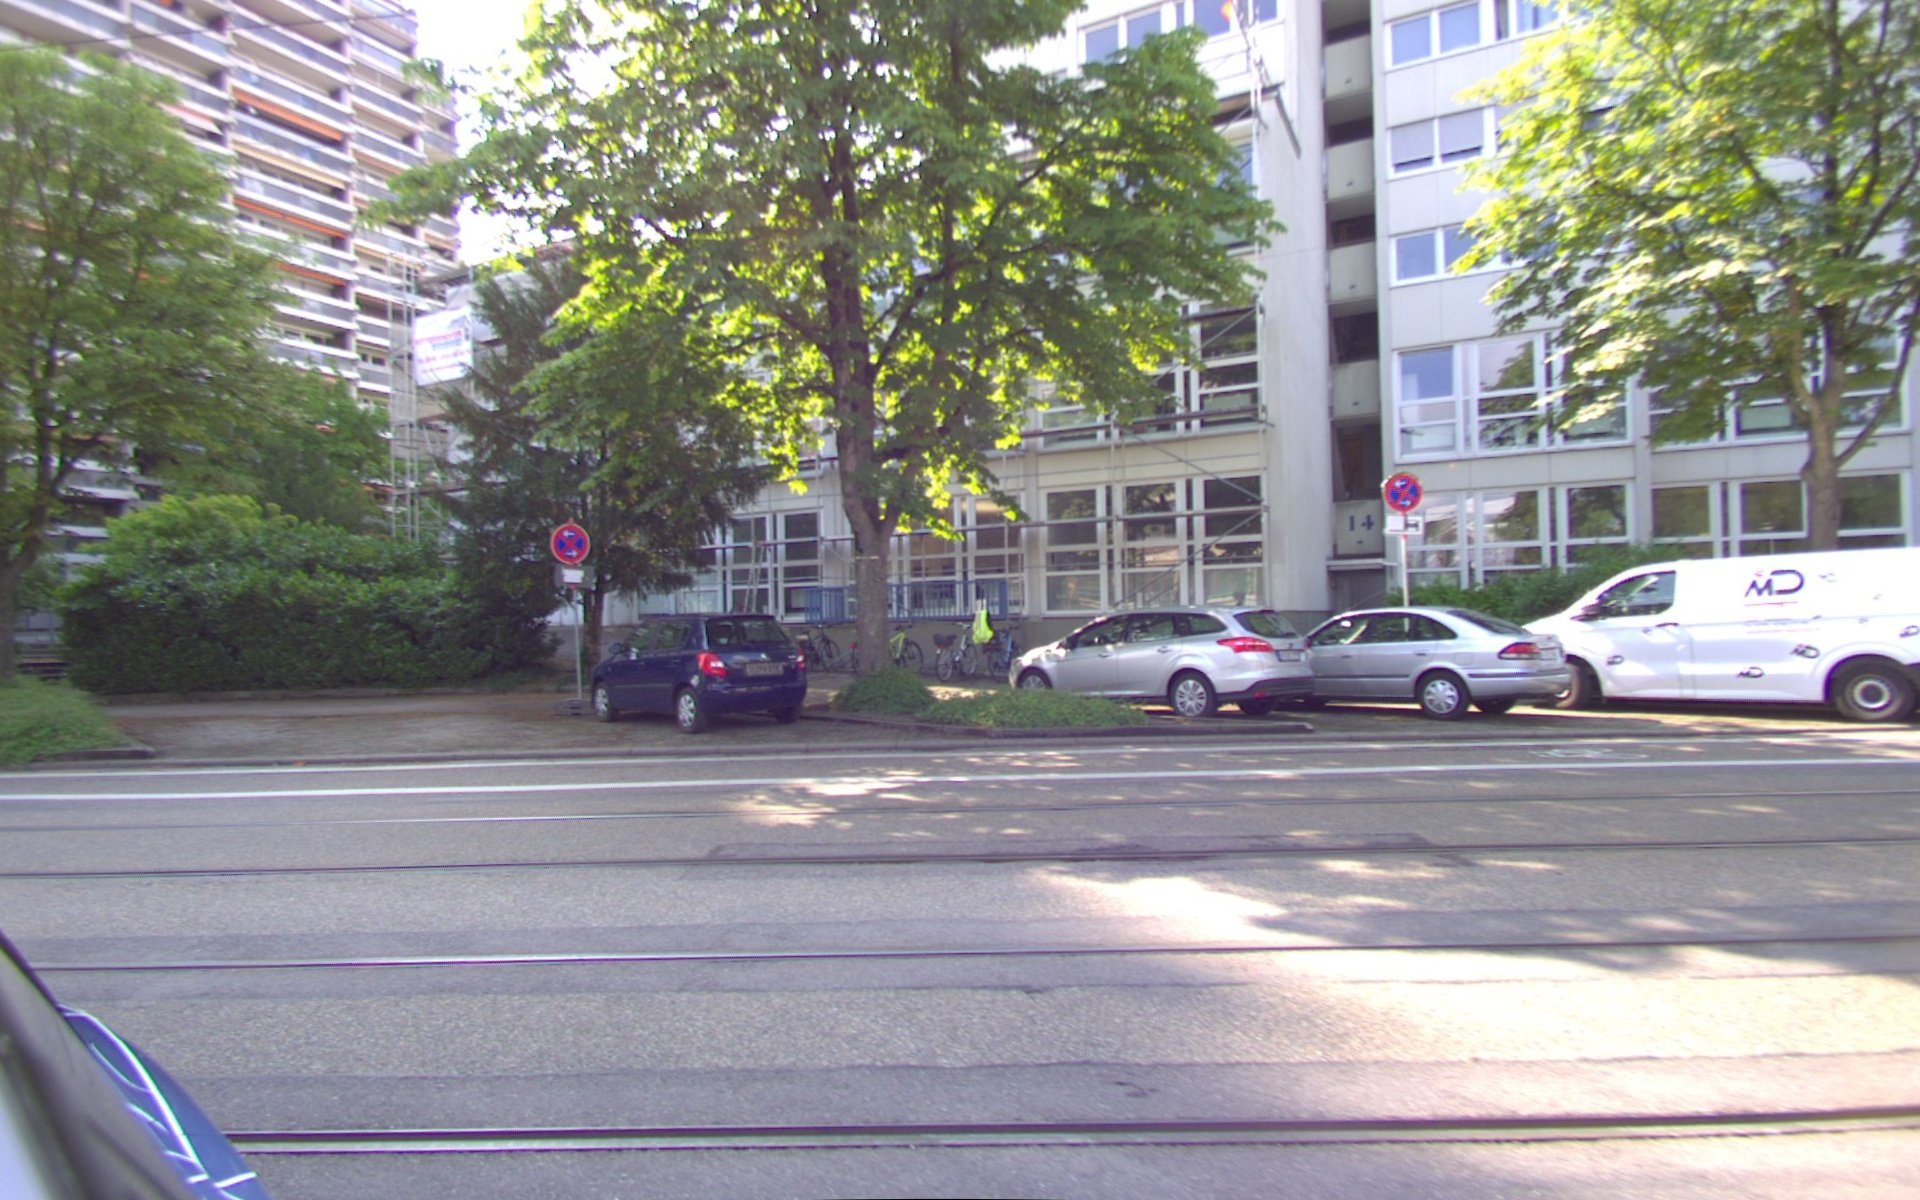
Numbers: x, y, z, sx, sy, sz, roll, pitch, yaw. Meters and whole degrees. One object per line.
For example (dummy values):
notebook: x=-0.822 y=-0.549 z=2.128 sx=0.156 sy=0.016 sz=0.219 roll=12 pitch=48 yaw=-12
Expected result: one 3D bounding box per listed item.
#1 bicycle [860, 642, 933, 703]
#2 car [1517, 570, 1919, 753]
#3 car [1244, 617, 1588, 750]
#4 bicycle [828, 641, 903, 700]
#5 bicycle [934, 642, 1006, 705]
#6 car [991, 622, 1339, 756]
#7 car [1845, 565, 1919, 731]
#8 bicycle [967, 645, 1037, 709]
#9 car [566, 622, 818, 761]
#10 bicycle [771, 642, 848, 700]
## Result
bicycle: x=-1.318 y=1.506 z=21.473 sx=0.495 sy=1.095 sz=2.035 roll=0 pitch=1 yaw=30
car: x=9.807 y=0.745 z=12.517 sx=1.902 sy=1.927 sz=4.649 roll=-1 pitch=-3 yaw=-40
car: x=5.948 y=1.053 z=13.539 sx=1.699 sy=1.487 sz=3.789 roll=0 pitch=-3 yaw=-41
bicycle: x=-2.015 y=1.500 z=21.891 sx=0.495 sy=1.095 sz=2.035 roll=0 pitch=1 yaw=30
bicycle: x=0.231 y=1.468 z=20.634 sx=0.495 sy=1.095 sz=2.035 roll=0 pitch=1 yaw=30
car: x=2.637 y=1.071 z=13.832 sx=4.464 sy=1.437 sz=1.715 roll=0 pitch=1 yaw=45
car: x=13.333 y=0.518 z=11.548 sx=1.873 sy=2.013 sz=4.581 roll=-1 pitch=-1 yaw=-40
bicycle: x=0.878 y=1.532 z=20.426 sx=0.495 sy=1.095 sz=2.035 roll=0 pitch=1 yaw=30
car: x=-3.774 y=1.103 z=13.791 sx=1.732 sy=1.473 sz=4.006 roll=-2 pitch=1 yaw=-41
bicycle: x=-3.280 y=1.527 z=22.232 sx=0.495 sy=1.095 sz=2.035 roll=0 pitch=1 yaw=30
